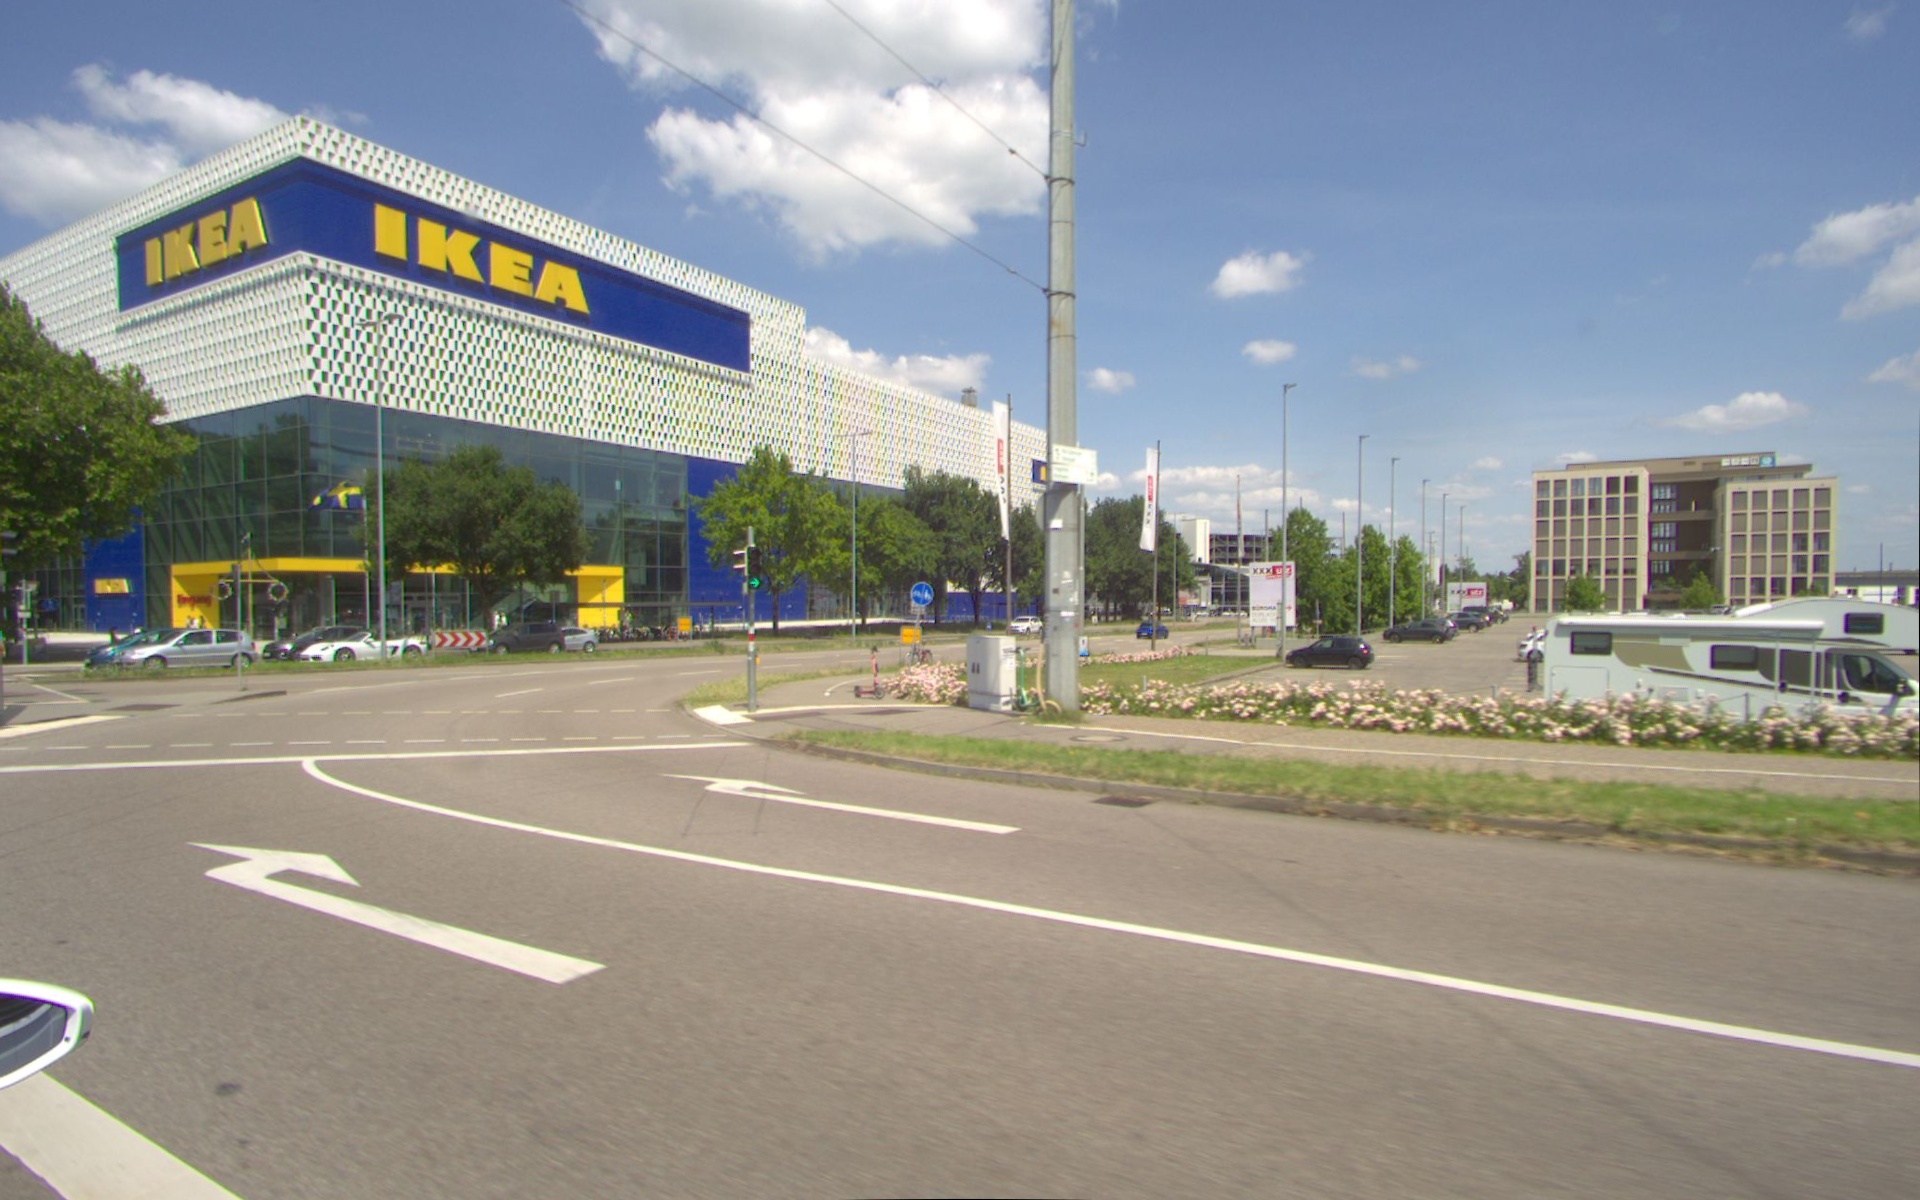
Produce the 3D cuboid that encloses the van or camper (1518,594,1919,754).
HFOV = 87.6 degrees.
[{"bbox_3d":[16.307,1.459,21.331,7.510,2.984,2.702,-1,-2,35],"label":"van or camper"}]

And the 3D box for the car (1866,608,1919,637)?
[{"bbox_3d":[68.382,1.632,72.421,3.942,2.040,1.990,-1,-1,32],"label":"car"}]

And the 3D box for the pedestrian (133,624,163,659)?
[{"bbox_3d":[-38.397,1.962,47.375,0.623,1.607,0.917,0,0,26],"label":"pedestrian"}]

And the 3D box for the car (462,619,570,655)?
[{"bbox_3d":[-20.784,1.695,47.062,1.837,1.605,4.391,0,-1,33],"label":"car"}]

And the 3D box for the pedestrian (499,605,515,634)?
[{"bbox_3d":[-31.202,1.333,68.962,0.724,2.040,0.794,0,0,39],"label":"pedestrian"}]

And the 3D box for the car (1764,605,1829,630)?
[{"bbox_3d":[69.178,1.483,82.901,3.947,2.040,1.988,-1,-1,36],"label":"car"}]

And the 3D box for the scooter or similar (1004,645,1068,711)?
[{"bbox_3d":[1.342,1.390,17.869,0.473,1.140,1.274,0,-4,-29],"label":"scooter or similar"}]

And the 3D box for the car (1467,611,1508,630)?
[{"bbox_3d":[59.610,2.315,113.210,3.944,2.040,1.989,0,-1,34],"label":"car"}]

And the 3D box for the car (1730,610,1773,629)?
[{"bbox_3d":[80.324,1.984,101.649,3.334,1.828,1.693,-1,-1,34],"label":"car"}]

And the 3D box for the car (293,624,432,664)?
[{"bbox_3d":[-22.647,1.626,38.115,1.778,1.416,4.210,0,-1,33],"label":"car"}]

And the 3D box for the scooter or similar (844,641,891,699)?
[{"bbox_3d":[-2.199,1.632,23.618,0.475,1.307,1.268,1,-1,-40],"label":"scooter or similar"}]

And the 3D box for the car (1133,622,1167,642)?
[{"bbox_3d":[16.216,2.702,85.274,1.736,1.632,3.530,0,-1,32],"label":"car"}]

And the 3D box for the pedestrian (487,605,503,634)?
[{"bbox_3d":[-32.331,1.353,69.593,0.725,2.040,0.792,0,0,43],"label":"pedestrian"}]

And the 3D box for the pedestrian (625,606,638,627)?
[{"bbox_3d":[-25.282,1.289,77.127,0.571,1.607,0.766,0,0,26],"label":"pedestrian"}]

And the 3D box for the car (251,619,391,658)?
[{"bbox_3d":[-25.470,1.507,40.094,1.826,1.462,4.395,0,-1,30],"label":"car"}]

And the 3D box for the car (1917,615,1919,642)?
[{"bbox_3d":[61.143,1.740,60.777,4.114,1.724,1.844,-1,-1,34],"label":"car"}]

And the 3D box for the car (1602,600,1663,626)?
[{"bbox_3d":[52.849,1.038,78.739,3.944,2.040,1.537,0,-1,33],"label":"car"}]

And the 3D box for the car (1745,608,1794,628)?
[{"bbox_3d":[73.976,1.660,91.573,3.334,1.828,1.693,-1,-1,34],"label":"car"}]

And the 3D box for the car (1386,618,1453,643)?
[{"bbox_3d":[31.831,2.077,69.417,4.062,1.706,1.991,0,-1,30],"label":"car"}]

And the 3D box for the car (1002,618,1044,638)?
[{"bbox_3d":[5.368,2.387,85.309,1.970,1.661,4.064,0,-1,30],"label":"car"}]

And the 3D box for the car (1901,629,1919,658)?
[{"bbox_3d":[46.437,2.031,46.355,3.943,1.327,1.686,-1,-1,33],"label":"car"}]

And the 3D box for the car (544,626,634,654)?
[{"bbox_3d":[-20.116,2.134,54.418,1.837,1.416,4.391,0,-1,33],"label":"car"}]

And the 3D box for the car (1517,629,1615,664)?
[{"bbox_3d":[29.078,2.219,48.189,3.938,1.566,1.847,0,-1,28],"label":"car"}]

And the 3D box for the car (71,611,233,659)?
[{"bbox_3d":[-28.182,1.184,35.051,1.970,1.576,3.983,0,-1,29],"label":"car"}]

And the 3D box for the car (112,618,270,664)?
[{"bbox_3d":[-25.457,1.320,33.258,1.778,1.415,3.815,0,-1,33],"label":"car"}]

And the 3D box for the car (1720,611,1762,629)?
[{"bbox_3d":[81.385,2.076,104.446,3.334,1.828,1.693,-1,-1,34],"label":"car"}]

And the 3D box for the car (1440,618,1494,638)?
[{"bbox_3d":[44.387,2.468,87.654,3.948,1.706,1.987,-1,-1,36],"label":"car"}]

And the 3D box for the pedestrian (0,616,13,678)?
[{"bbox_3d":[-26.204,1.281,27.278,0.598,1.658,0.856,0,-2,-44],"label":"pedestrian"}]

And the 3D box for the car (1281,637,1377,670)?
[{"bbox_3d":[17.157,2.475,46.626,3.887,1.394,1.845,-1,-1,33],"label":"car"}]

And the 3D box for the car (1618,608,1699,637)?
[{"bbox_3d":[43.922,1.393,63.025,4.115,1.724,1.843,0,0,35],"label":"car"}]
